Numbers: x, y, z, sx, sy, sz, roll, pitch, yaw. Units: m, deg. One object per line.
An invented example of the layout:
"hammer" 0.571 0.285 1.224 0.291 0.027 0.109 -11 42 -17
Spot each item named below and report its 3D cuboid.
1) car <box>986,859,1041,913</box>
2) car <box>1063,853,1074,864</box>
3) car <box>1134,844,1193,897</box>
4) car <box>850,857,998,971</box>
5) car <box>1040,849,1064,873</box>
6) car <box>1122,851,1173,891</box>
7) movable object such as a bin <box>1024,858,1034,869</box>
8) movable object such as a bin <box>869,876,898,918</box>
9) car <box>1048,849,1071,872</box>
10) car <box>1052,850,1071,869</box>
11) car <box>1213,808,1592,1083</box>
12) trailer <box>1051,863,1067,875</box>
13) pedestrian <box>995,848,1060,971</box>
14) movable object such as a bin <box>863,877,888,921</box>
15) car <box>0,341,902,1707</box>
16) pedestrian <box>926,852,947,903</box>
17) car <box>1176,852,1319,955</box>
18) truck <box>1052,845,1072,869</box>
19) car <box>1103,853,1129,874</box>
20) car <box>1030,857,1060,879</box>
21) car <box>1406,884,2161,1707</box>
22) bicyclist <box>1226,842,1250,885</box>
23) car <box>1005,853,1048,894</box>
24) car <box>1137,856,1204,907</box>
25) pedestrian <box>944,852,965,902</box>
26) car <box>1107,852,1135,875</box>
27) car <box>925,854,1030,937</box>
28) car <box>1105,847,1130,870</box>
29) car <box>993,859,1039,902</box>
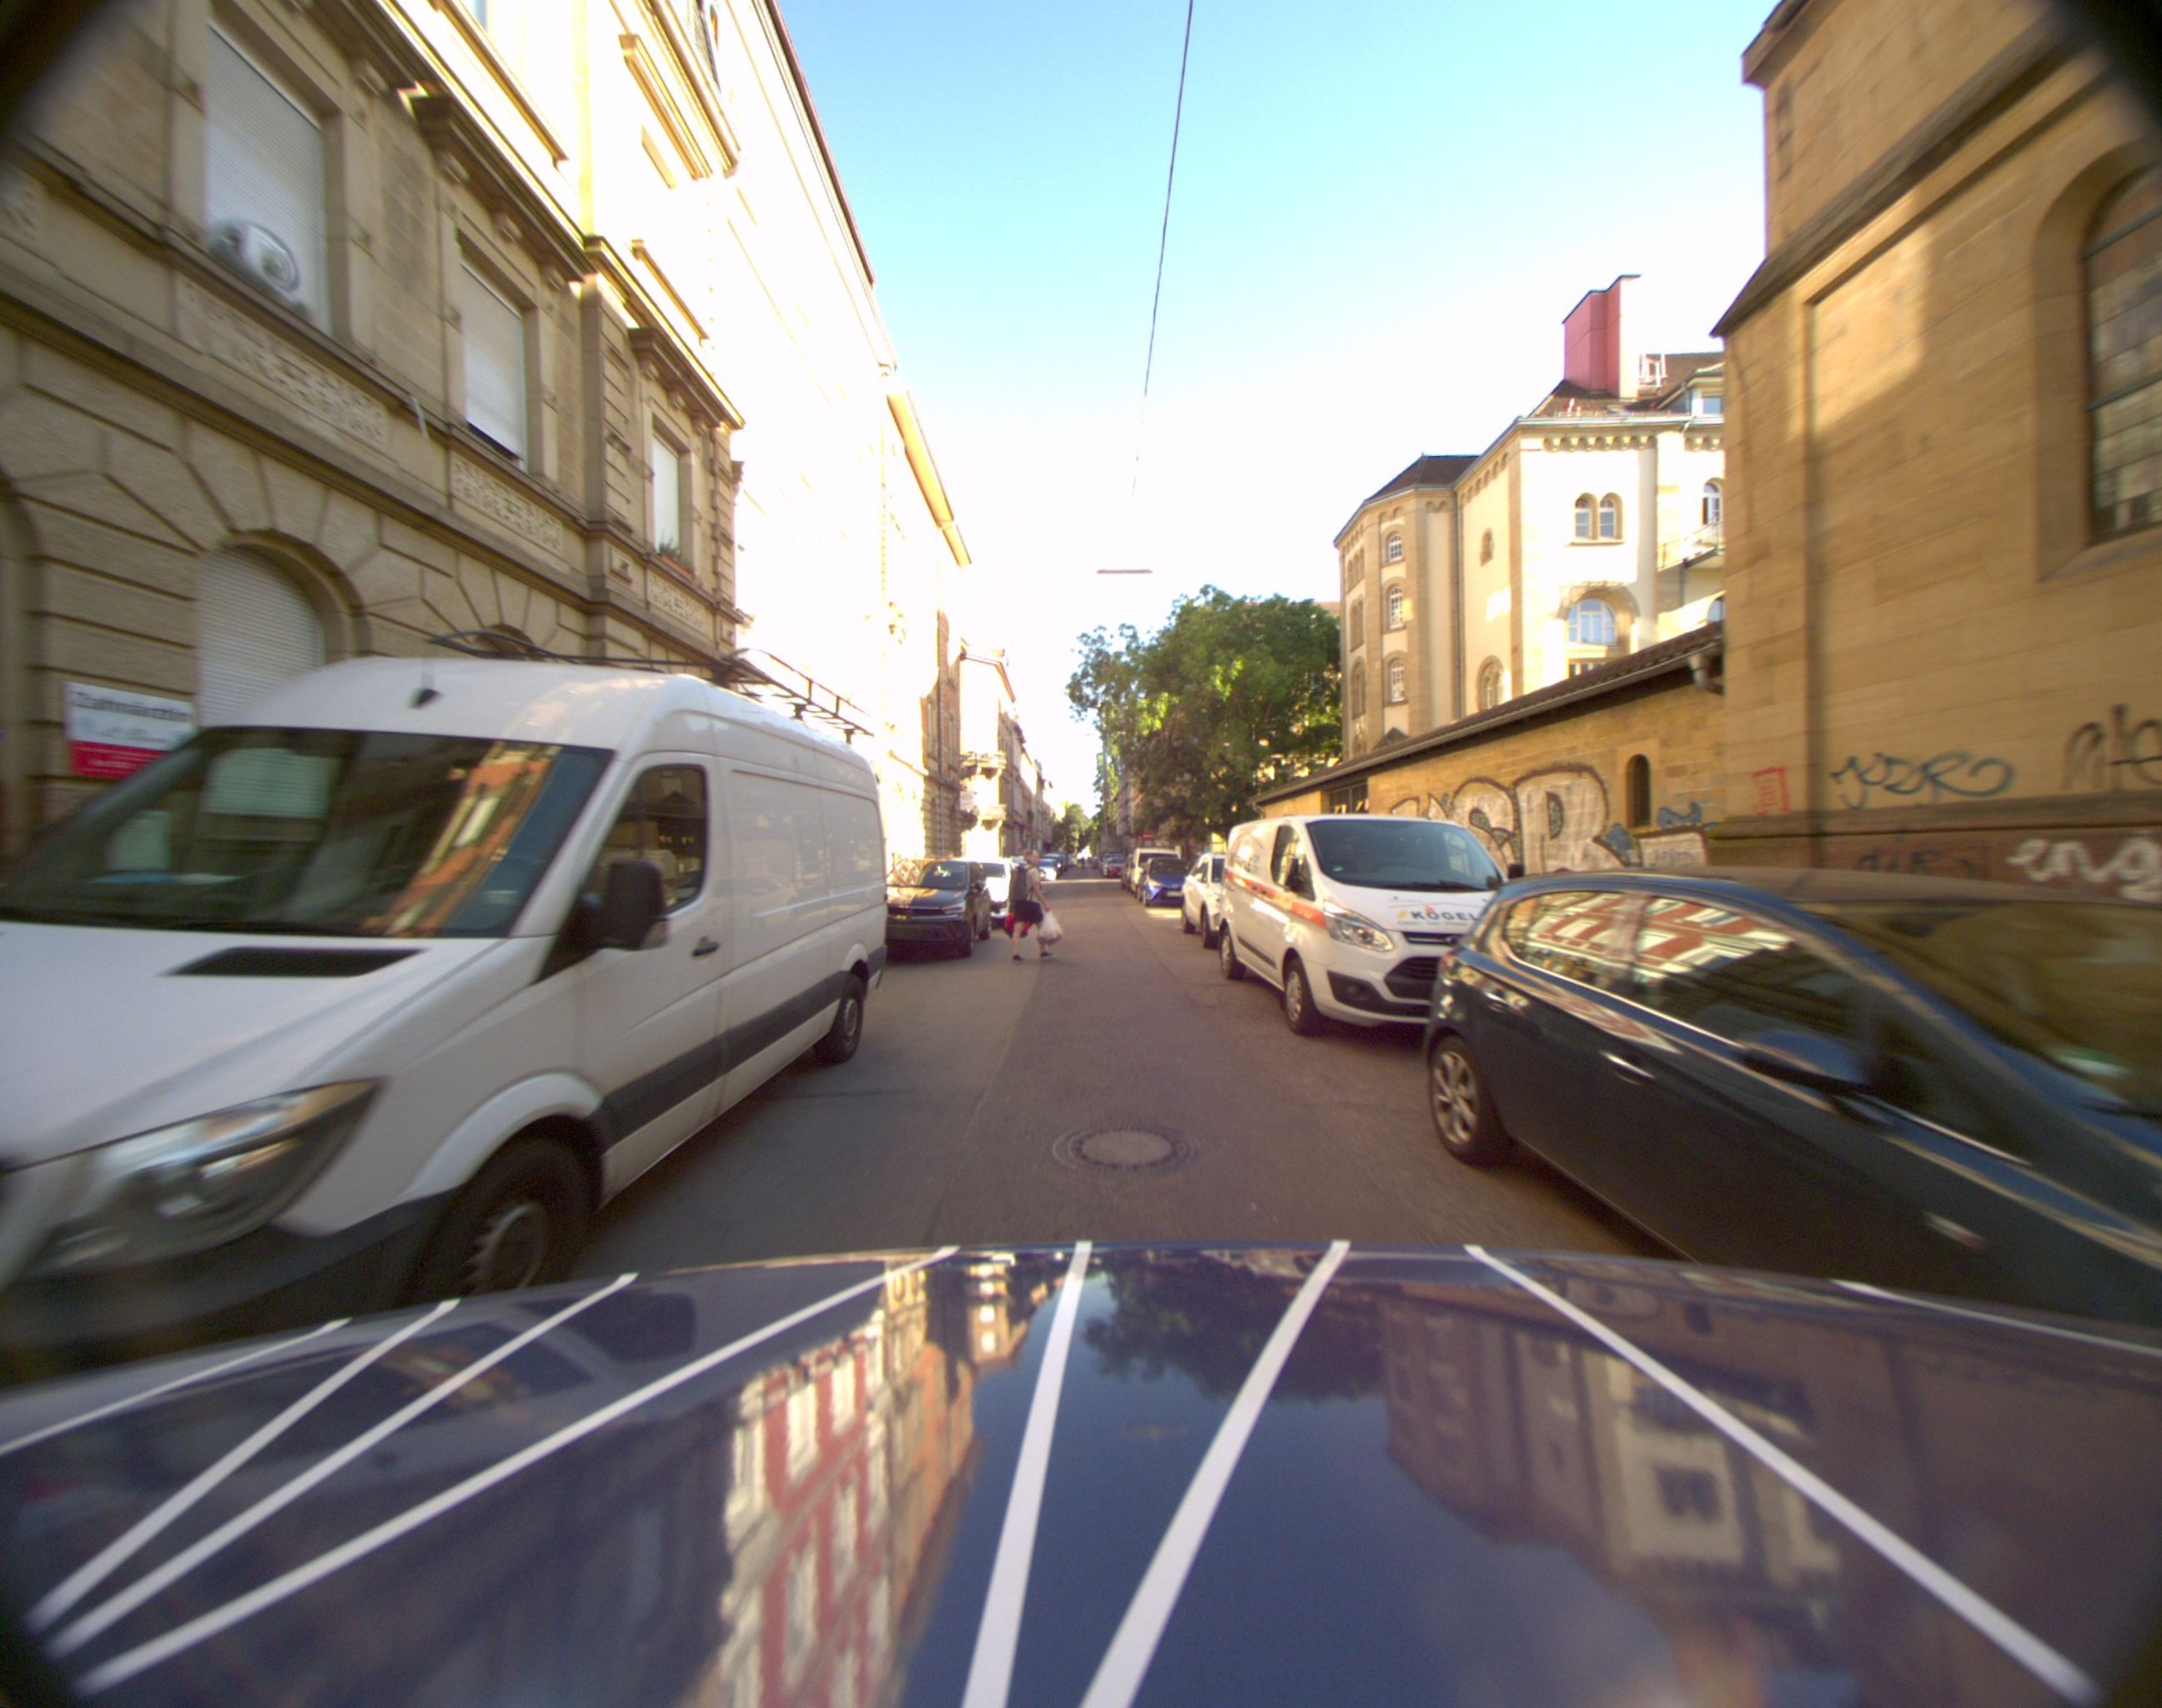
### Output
"car" -2.166 0.986 25.010 1.576 1.516 3.907 -3 0 -3
"car" -2.048 0.716 122.118 1.603 1.652 4.060 -3 0 1
"car" 3.057 0.593 28.915 1.850 1.851 4.465 -1 0 1
"car" -2.536 0.893 13.193 1.691 1.633 3.924 -1 0 0
"car" -2.450 0.589 66.000 1.774 1.949 4.264 -3 0 1
"car" 2.895 0.703 34.023 1.745 1.637 4.288 -1 0 -2
"movable object such as a bin" -5.027 0.930 73.216 0.898 1.055 0.722 2 0 -2
"movable object such as a bin" -5.105 1.101 19.628 0.550 1.046 0.602 2 0 -33
"car" -1.966 0.576 70.952 1.836 2.002 4.741 -3 0 1
"car" -2.109 0.601 83.741 1.849 1.972 4.576 -3 0 0
"car" 2.692 0.653 7.718 1.869 1.946 4.610 1 0 0
"trailer" -2.272 1.534 78.811 1.508 1.106 3.039 -4 0 -1
"pedestrian" -0.794 0.812 11.356 0.640 1.762 0.680 -2 1 25
"movable object such as a bin" -5.112 1.106 18.889 0.550 1.046 0.603 2 0 -18
"car" -2.784 0.471 4.163 2.073 2.595 5.888 -2 0 1
"pedestrian" -4.660 0.751 24.522 0.575 1.612 0.734 0 0 -2
"car" 2.838 0.768 13.789 1.746 1.577 3.869 -1 0 1
"truck" -2.324 0.355 91.508 2.154 2.642 6.252 3 0 -2
"car" 2.676 0.705 58.130 1.678 1.412 3.874 -3 0 -1
"car" -2.413 0.925 51.987 1.710 1.450 4.511 -1 0 1
"car" 2.584 0.898 2.193 1.619 1.443 3.950 1 0 1
"bicyclist" 6.499 0.392 31.496 0.806 1.713 0.692 -4 1 9
"car" -2.353 0.796 33.706 1.708 1.704 3.937 0 0 -1
"car" 2.774 0.818 24.273 1.691 1.468 3.860 1 0 0
"pedestrian" -4.110 0.750 24.728 0.592 1.594 0.727 0 0 -2
"car" 2.790 0.613 53.346 1.727 1.472 4.089 -3 0 1
"car" -2.376 0.901 18.532 1.812 1.680 4.214 -3 1 1
"car" 3.029 0.348 64.383 1.897 1.774 4.608 -3 0 1
"car" -2.426 0.971 29.208 1.539 1.504 3.681 0 0 -1
